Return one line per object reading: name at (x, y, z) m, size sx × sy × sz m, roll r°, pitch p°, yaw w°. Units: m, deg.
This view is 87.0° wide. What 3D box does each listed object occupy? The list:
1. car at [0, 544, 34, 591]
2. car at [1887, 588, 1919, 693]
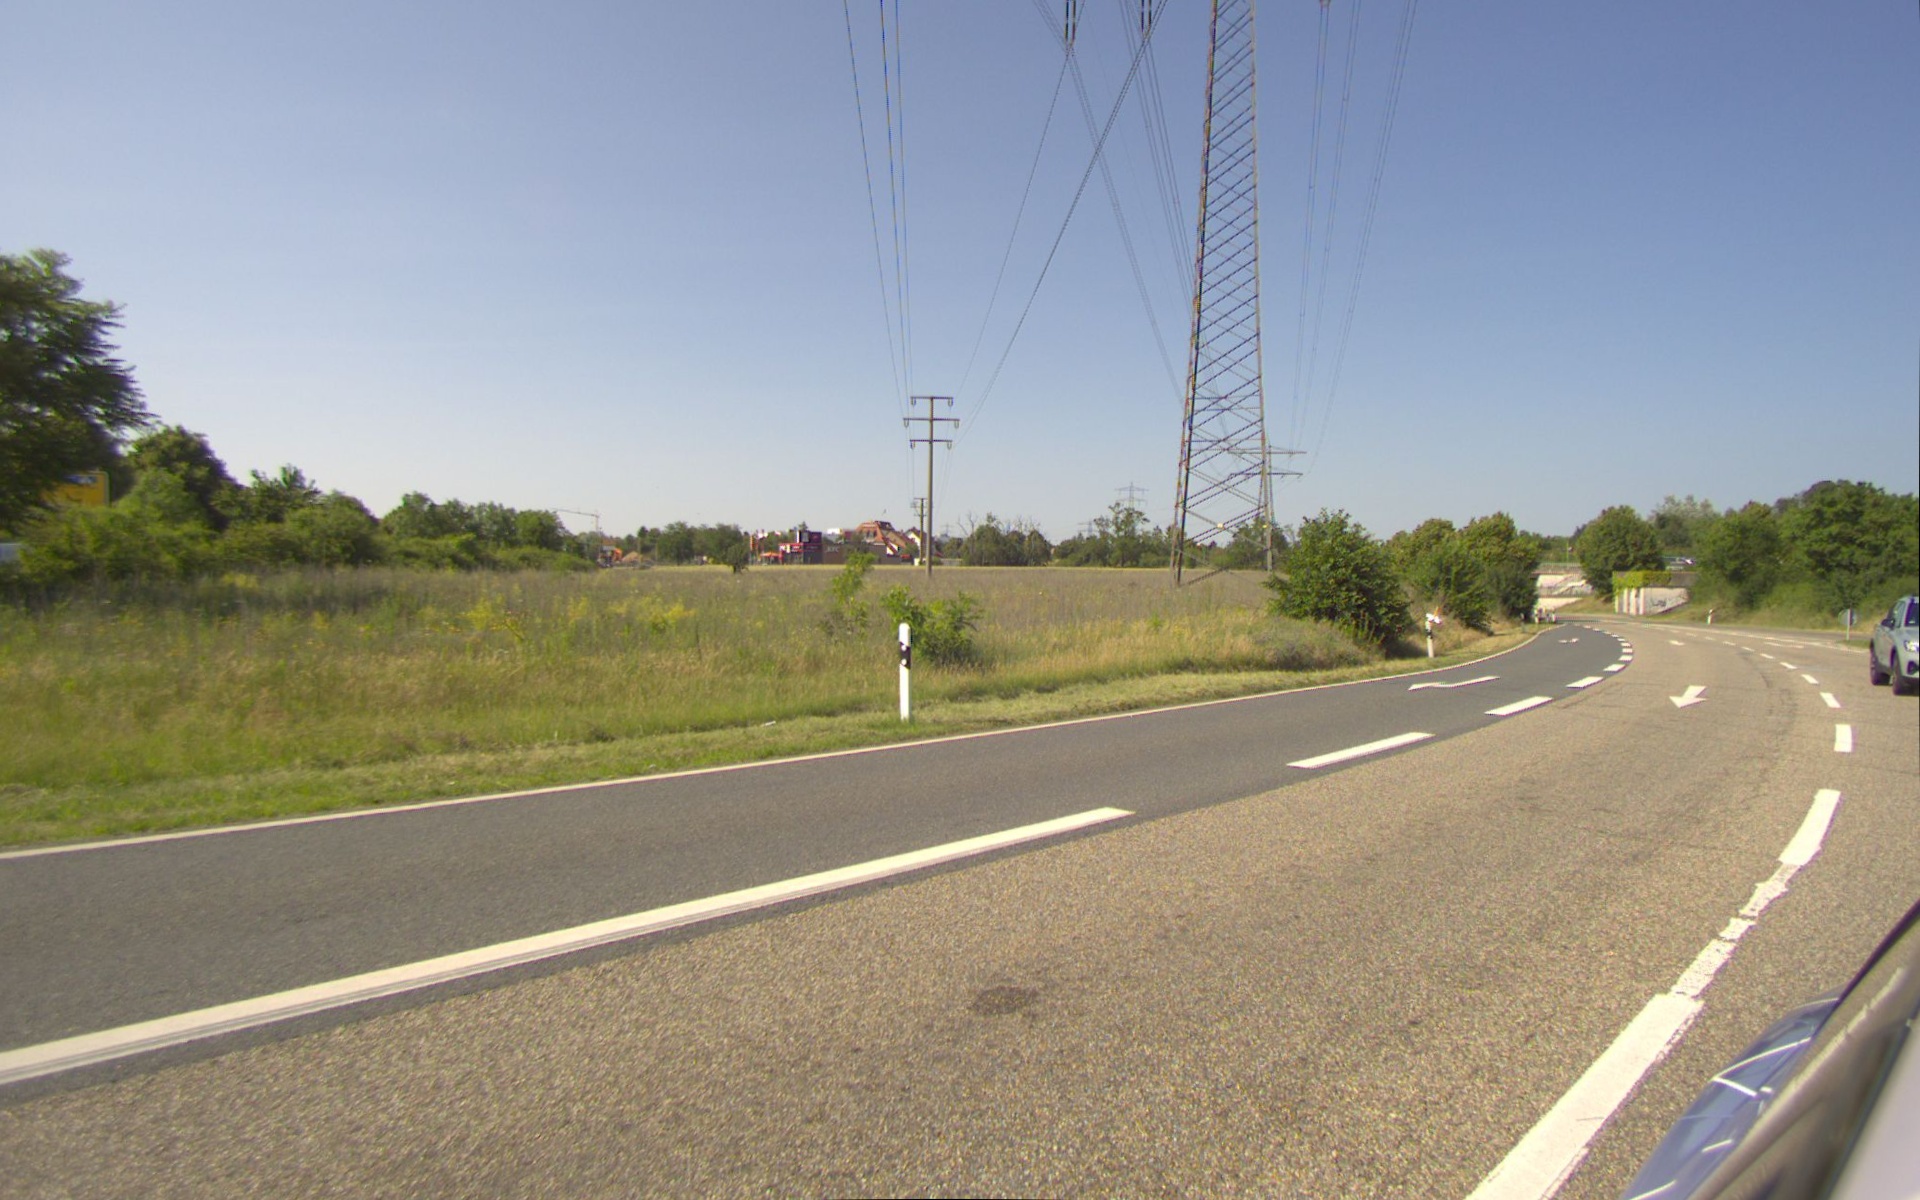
car at (-51.867, -1.734, 54.302) m, size 1.431 × 2.467 × 3.913 m, roll 0°, pitch 0°, yaw -12°
car at (16.824, 0.649, 16.786) m, size 1.851 × 1.640 × 3.597 m, roll 0°, pitch 0°, yaw 38°
